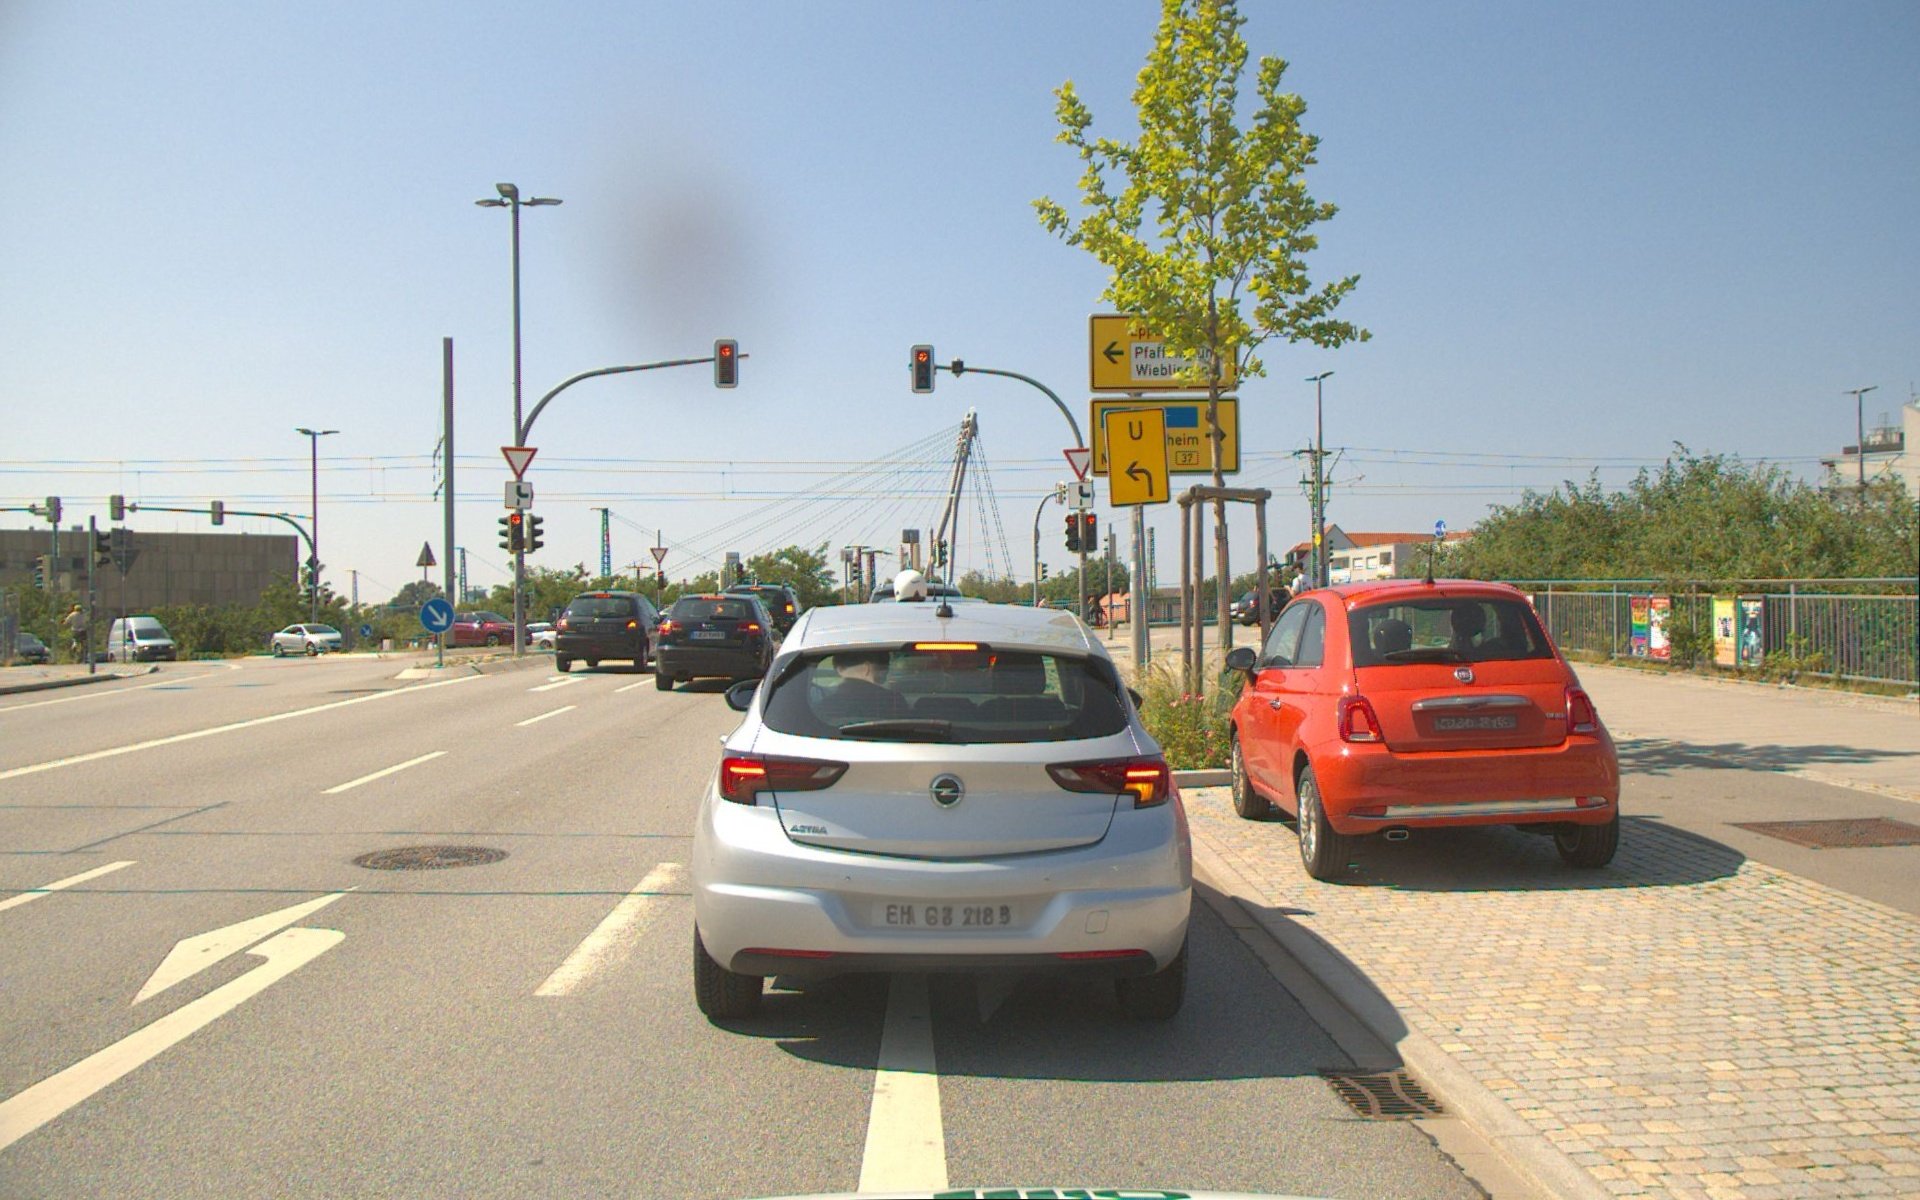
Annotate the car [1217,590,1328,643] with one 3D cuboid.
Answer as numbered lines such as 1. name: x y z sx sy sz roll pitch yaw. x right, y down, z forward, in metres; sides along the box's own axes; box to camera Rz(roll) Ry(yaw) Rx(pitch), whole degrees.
1. car: 12.390 0.658 65.628 3.925 2.049 1.990 0 -1 -18

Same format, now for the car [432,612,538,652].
1. car: -18.862 1.249 65.666 3.909 1.481 1.682 1 -1 27

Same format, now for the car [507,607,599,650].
1. car: -19.670 1.366 79.963 3.907 2.049 1.999 0 -1 24

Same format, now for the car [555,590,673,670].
1. car: -6.387 0.550 30.822 1.555 1.419 3.338 0 -1 -1

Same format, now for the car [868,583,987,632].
1. car: -1.238 0.294 63.227 4.455 1.815 1.999 1 -1 -1

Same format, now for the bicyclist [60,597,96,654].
1. bicyclist: -24.972 0.722 46.807 0.812 1.596 0.938 2 -1 -32

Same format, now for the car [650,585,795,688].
1. car: -3.599 0.549 25.662 1.671 1.437 3.999 2 -1 -1

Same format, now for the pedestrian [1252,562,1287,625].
1. pedestrian: 9.420 -0.202 50.413 0.737 1.896 0.741 2 -1 -44

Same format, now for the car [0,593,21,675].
1. car: -25.470 0.847 43.118 1.652 2.049 3.960 2 -1 -29

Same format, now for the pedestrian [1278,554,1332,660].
1. pedestrian: 6.194 0.136 29.708 0.743 1.862 0.884 1 -1 -1

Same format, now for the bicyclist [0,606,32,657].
1. bicyclist: -30.004 0.999 52.371 0.811 1.587 0.857 -4 -4 44

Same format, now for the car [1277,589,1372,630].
1. car: 13.683 0.374 62.091 3.094 1.464 1.579 1 -1 -17

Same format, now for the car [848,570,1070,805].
1. car: -0.052 0.673 14.117 1.602 1.703 3.744 1 -1 -2

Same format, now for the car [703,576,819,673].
1. car: -3.735 0.462 31.661 1.767 1.650 3.915 -3 -1 -2

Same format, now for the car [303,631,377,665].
1. car: -33.153 2.552 88.429 4.129 1.674 1.825 1 -1 39

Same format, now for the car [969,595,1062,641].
1. car: 2.569 0.834 77.012 3.922 2.049 1.991 1 -1 -16

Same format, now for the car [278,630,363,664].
1. car: -27.511 1.992 71.123 3.643 1.356 1.763 1 -1 38

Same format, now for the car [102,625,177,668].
1. car: -41.519 2.328 83.687 3.916 2.049 1.605 1 -1 33

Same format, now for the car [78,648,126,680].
1. car: -58.101 4.321 111.995 1.983 2.049 3.938 0 -1 -42

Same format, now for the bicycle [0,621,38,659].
1. bicycle: -30.012 1.285 52.415 2.489 1.154 0.723 -2 -2 44

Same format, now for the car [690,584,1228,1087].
1. car: -0.050 0.734 7.259 1.656 1.546 4.269 0 0 -1

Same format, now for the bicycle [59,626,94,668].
1. bicycle: -25.102 1.320 46.962 0.669 1.147 2.338 2 -1 -33

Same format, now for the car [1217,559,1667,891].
1. car: 2.658 0.586 10.038 1.635 1.566 3.917 -2 1 1
